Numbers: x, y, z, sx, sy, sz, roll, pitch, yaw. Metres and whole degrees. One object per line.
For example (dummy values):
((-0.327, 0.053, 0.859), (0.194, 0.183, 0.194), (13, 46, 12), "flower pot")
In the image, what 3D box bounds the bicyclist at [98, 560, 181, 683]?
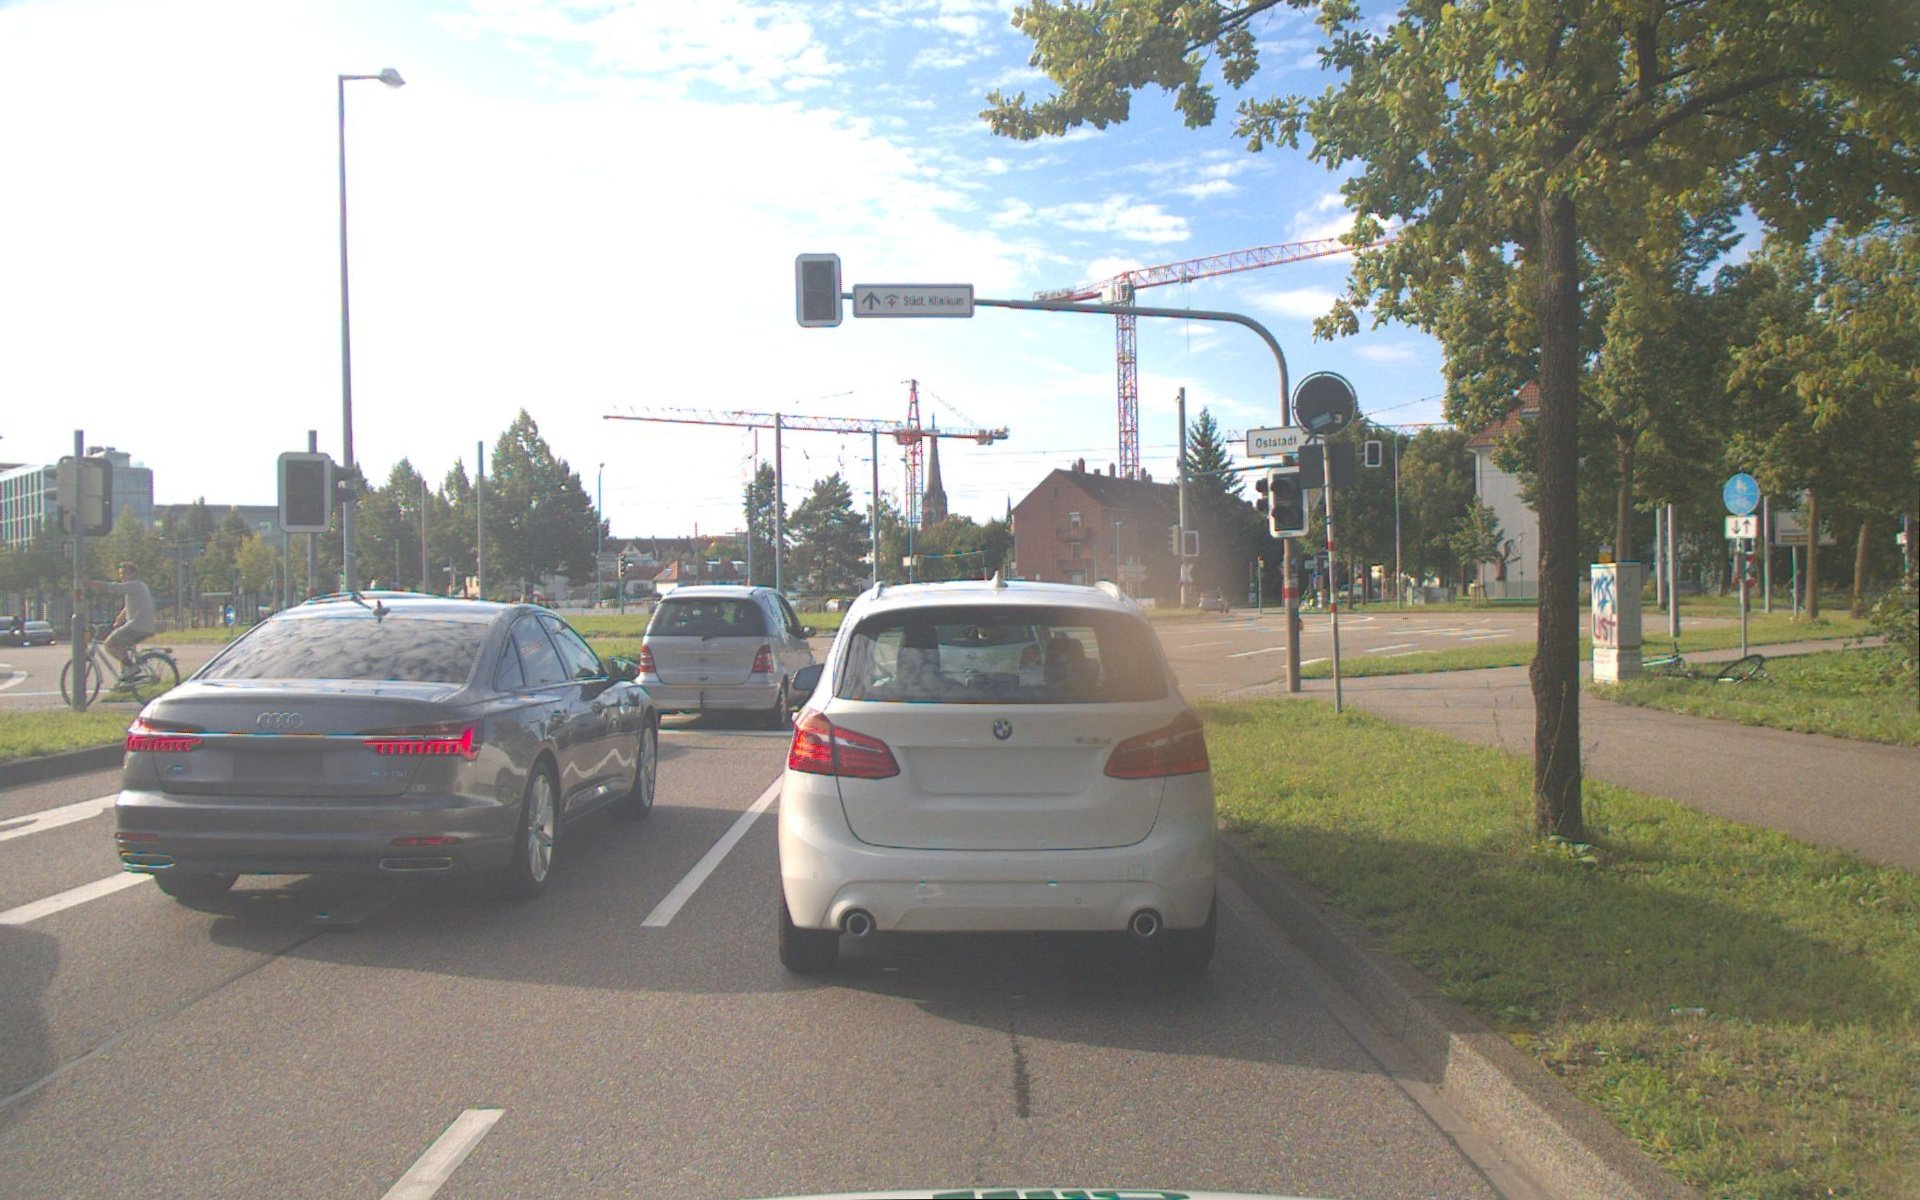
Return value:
((-10.739, 0.274, 21.676), (0.835, 1.553, 0.737), (-1, 0, -17), "bicyclist")

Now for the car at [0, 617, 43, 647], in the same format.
((-56.156, 1.913, 98.648), (1.699, 1.721, 3.938), (-1, 0, -42), "car")

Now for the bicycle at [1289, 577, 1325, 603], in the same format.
((21.904, -0.634, 104.440), (0.884, 1.557, 2.266), (2, -1, -30), "bicycle")

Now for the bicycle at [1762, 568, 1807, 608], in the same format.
((35.864, -0.527, 71.971), (1.020, 1.691, 2.498), (1, 0, 9), "bicycle")

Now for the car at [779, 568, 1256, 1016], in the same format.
((0.175, 0.675, 7.909), (1.694, 1.585, 4.057), (0, 0, -1), "car")

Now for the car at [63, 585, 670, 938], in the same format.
((-2.943, 0.704, 9.403), (1.851, 1.509, 4.612), (0, 0, -1), "car")

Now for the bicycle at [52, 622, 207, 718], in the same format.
((-10.841, 0.905, 21.640), (1.698, 1.184, 0.653), (-1, 0, -17), "bicycle")

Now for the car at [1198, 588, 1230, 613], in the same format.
((17.641, 0.010, 114.945), (1.537, 1.601, 3.199), (-1, 1, 21), "car")

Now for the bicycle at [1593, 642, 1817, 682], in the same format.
((9.484, 0.779, 21.223), (1.382, 0.392, 2.569), (-1, 0, -12), "bicycle")

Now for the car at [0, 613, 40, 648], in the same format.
((-45.546, 1.445, 79.263), (1.759, 1.602, 3.979), (-1, 0, -18), "car")

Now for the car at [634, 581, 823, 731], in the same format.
((-2.629, 0.593, 19.641), (1.694, 1.585, 4.057), (0, 0, -1), "car")

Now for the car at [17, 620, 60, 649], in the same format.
((-49.778, 1.886, 89.392), (1.570, 1.440, 3.644), (0, -3, -23), "car")
